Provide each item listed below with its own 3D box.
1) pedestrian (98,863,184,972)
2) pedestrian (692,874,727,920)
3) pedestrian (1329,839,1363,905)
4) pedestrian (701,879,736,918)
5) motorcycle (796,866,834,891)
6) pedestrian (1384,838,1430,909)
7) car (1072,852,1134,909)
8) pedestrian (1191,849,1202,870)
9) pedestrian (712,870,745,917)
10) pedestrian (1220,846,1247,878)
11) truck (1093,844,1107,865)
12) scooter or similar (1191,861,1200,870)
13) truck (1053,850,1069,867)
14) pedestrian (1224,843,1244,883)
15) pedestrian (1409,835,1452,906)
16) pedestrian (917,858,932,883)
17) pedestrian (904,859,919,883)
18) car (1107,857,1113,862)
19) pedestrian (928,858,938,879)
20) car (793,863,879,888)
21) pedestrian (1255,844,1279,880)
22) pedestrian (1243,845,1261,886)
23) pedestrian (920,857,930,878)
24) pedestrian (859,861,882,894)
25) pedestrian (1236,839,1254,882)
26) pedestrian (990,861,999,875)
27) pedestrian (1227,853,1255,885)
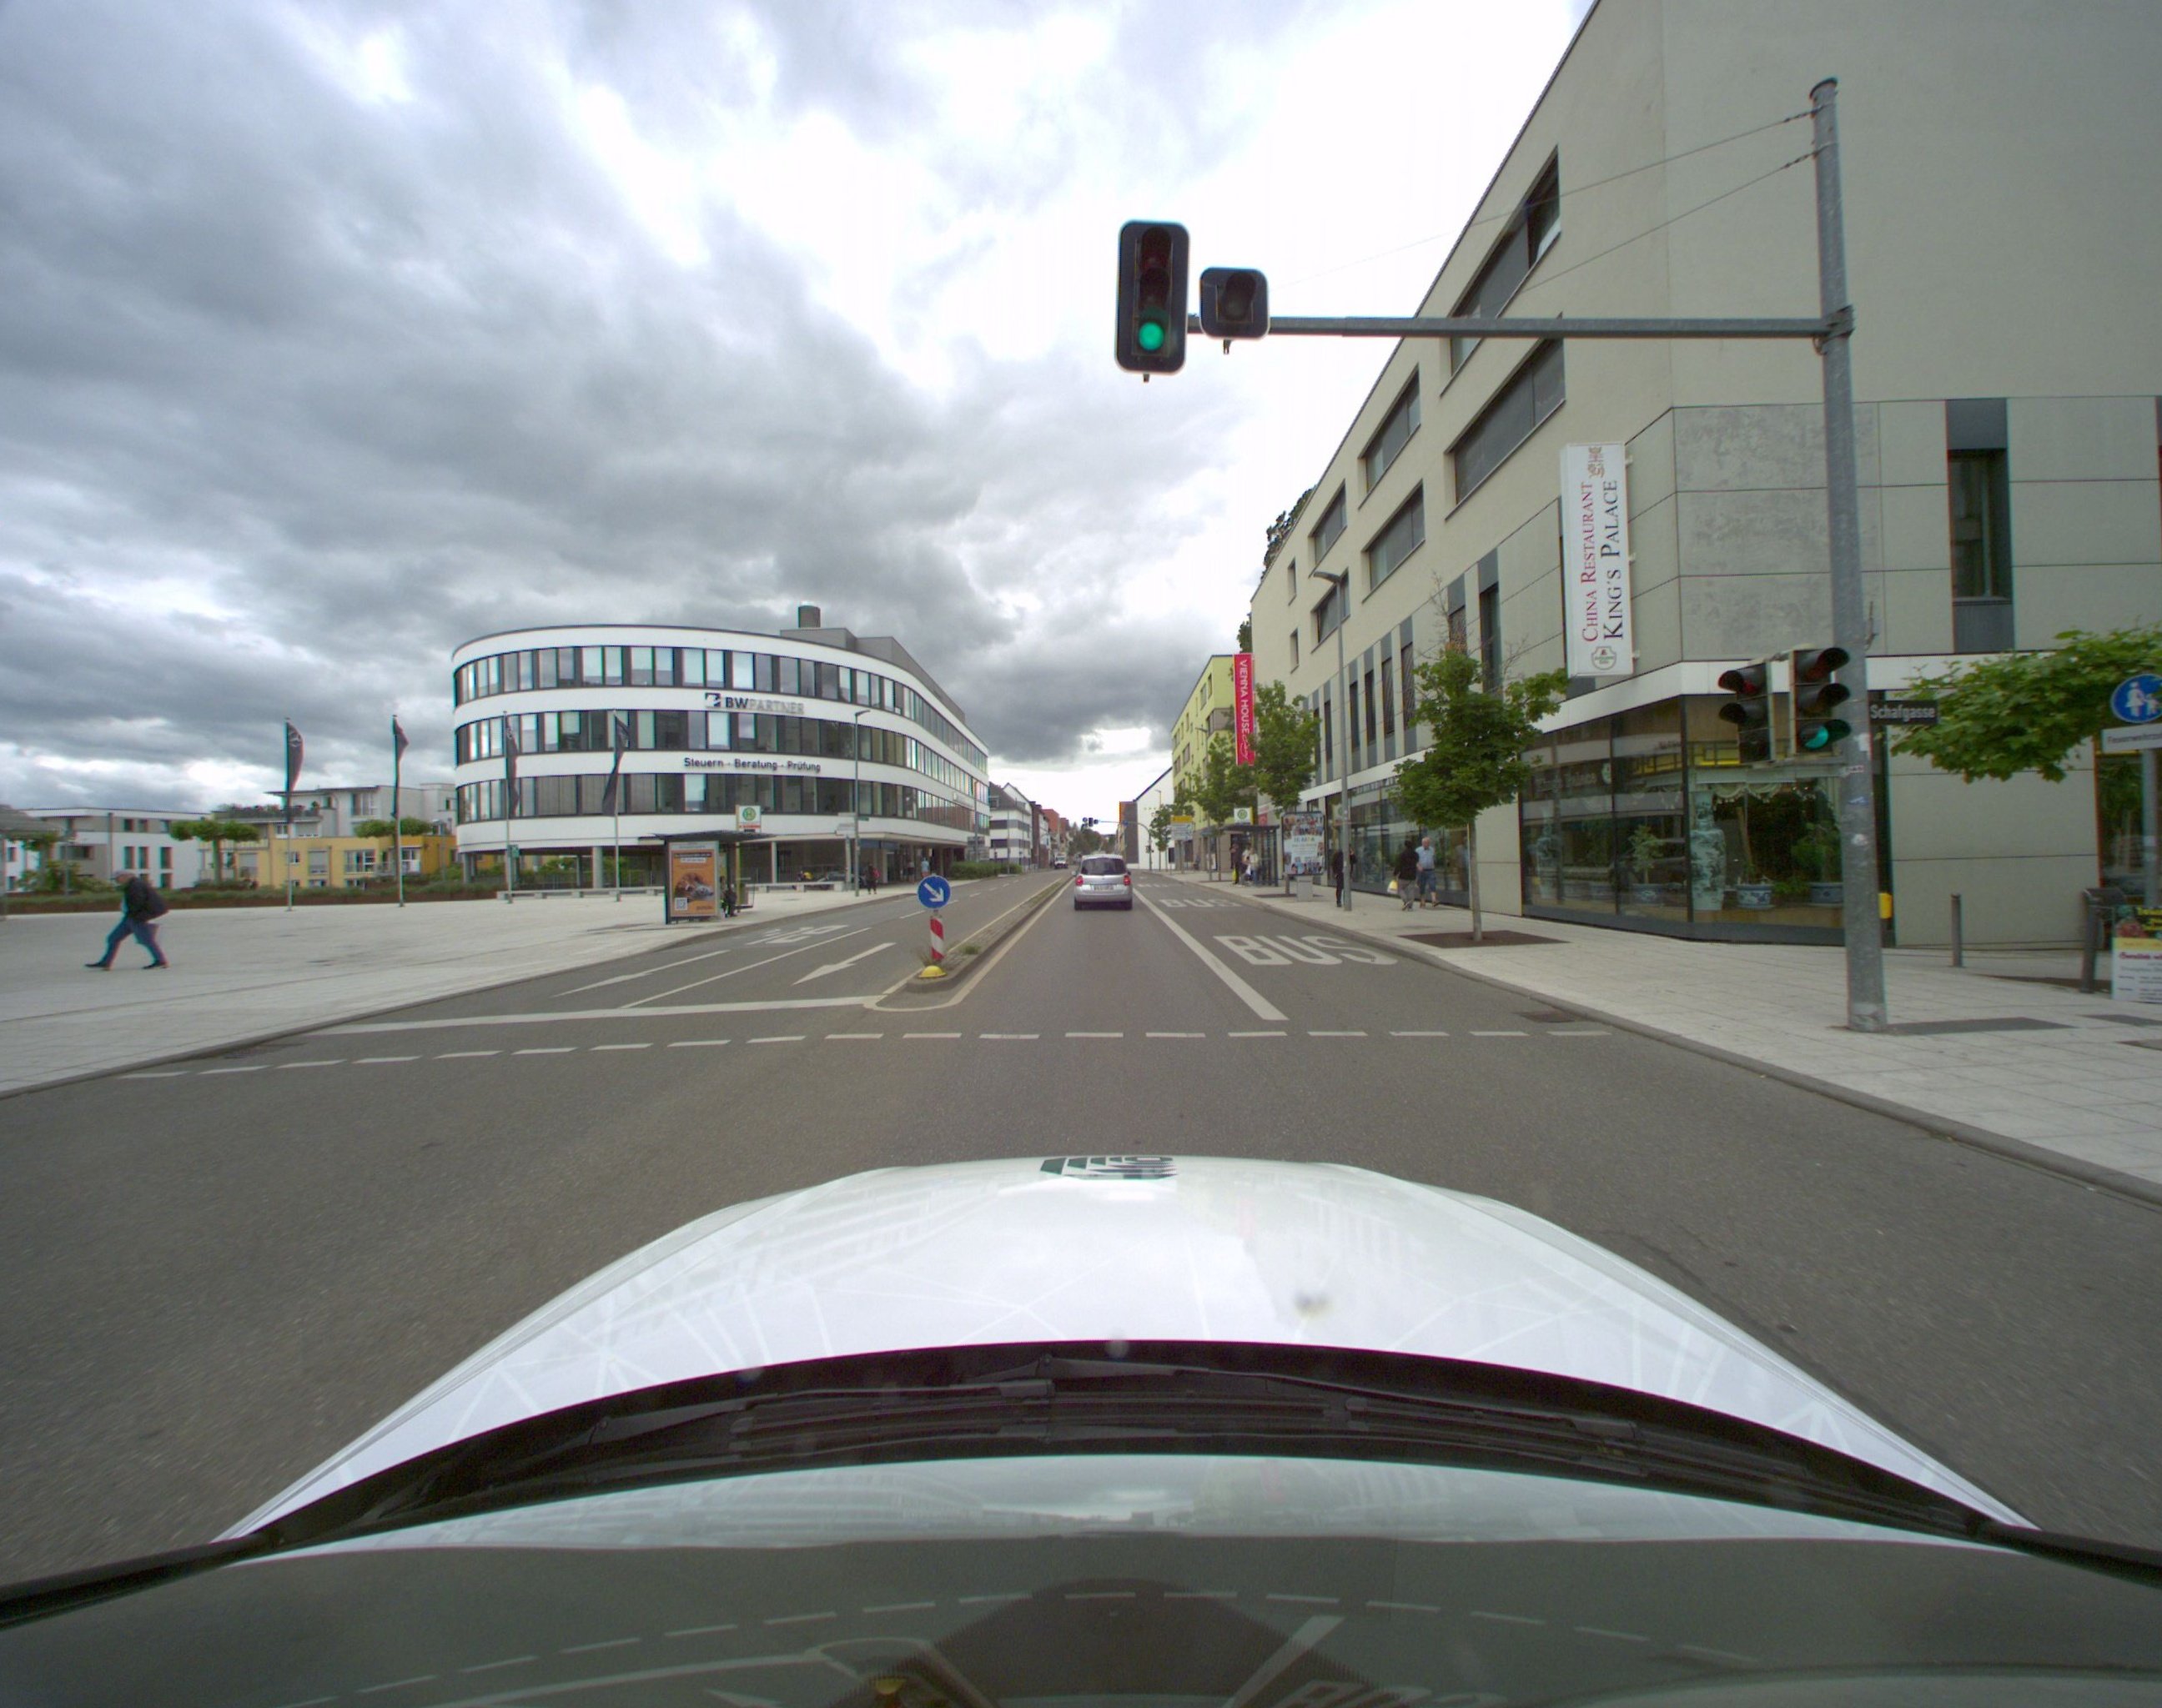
[{"bbox_3d":[-17.420,1.142,15.114,0.907,1.945,0.741,0,-1,-38],"label":"pedestrian"},{"bbox_3d":[-10.536,1.214,23.084,0.682,1.253,0.576,-2,-1,-1],"label":"pedestrian"},{"bbox_3d":[6.809,0.456,20.953,0.652,1.669,0.614,-2,0,1],"label":"pedestrian"},{"bbox_3d":[-10.544,1.289,23.686,0.682,1.075,0.576,-4,0,-1],"label":"pedestrian"},{"bbox_3d":[-14.544,1.325,44.536,1.846,1.333,0.637,0,-1,4],"label":"motorcycle"},{"bbox_3d":[7.569,0.446,18.932,0.738,1.608,0.715,-2,0,1],"label":"pedestrian"},{"bbox_3d":[0.644,0.739,24.432,1.700,1.579,4.001,0,0,1],"label":"car"},{"bbox_3d":[9.418,0.448,66.323,0.693,1.593,0.603,-3,-1,0],"label":"pedestrian"},{"bbox_3d":[-10.533,1.174,24.357,0.682,1.320,0.576,-3,-1,-1],"label":"pedestrian"},{"bbox_3d":[7.794,0.403,41.601,0.949,1.583,1.011,-2,-1,-15],"label":"pedestrian"},{"bbox_3d":[3.608,0.083,155.682,2.586,3.857,6.851,-1,0,2],"label":"truck"},{"bbox_3d":[9.186,0.894,65.597,0.590,0.673,0.824,-3,0,0],"label":"scooter or similar"},{"bbox_3d":[-3.543,0.727,145.875,2.426,2.954,8.365,1,0,1],"label":"truck"},{"bbox_3d":[6.741,0.400,35.949,0.717,1.683,0.734,-3,-1,6],"label":"pedestrian"},{"bbox_3d":[8.554,0.398,19.937,0.741,1.669,0.614,-2,0,1],"label":"pedestrian"},{"bbox_3d":[-10.364,1.081,53.985,0.727,1.674,0.932,0,-1,3],"label":"pedestrian"},{"bbox_3d":[-11.413,1.125,54.855,0.727,1.613,0.932,0,-1,3],"label":"pedestrian"},{"bbox_3d":[8.734,1.645,245.693,1.806,1.354,4.002,-2,0,2],"label":"car"},{"bbox_3d":[-12.097,1.208,66.520,0.617,1.710,0.501,-1,-1,-29],"label":"pedestrian"},{"bbox_3d":[-14.494,1.231,48.262,4.432,1.415,1.906,0,0,7],"label":"car"},{"bbox_3d":[8.450,0.350,37.031,0.866,1.583,0.804,-2,-1,0],"label":"pedestrian"},{"bbox_3d":[6.786,0.447,32.384,0.576,1.591,0.734,-3,-1,6],"label":"pedestrian"},{"bbox_3d":[-12.850,1.128,67.005,0.500,1.730,0.619,-2,-1,32],"label":"pedestrian"},{"bbox_3d":[-10.147,1.133,39.209,0.826,1.567,0.814,0,-1,6],"label":"pedestrian"},{"bbox_3d":[6.963,0.277,34.640,0.576,1.769,0.858,-3,-1,6],"label":"pedestrian"},{"bbox_3d":[-10.528,1.723,99.273,0.879,1.669,0.814,-1,2,0],"label":"pedestrian"},{"bbox_3d":[6.576,0.617,33.517,0.940,1.259,0.732,-3,-1,-2],"label":"pedestrian"}]
